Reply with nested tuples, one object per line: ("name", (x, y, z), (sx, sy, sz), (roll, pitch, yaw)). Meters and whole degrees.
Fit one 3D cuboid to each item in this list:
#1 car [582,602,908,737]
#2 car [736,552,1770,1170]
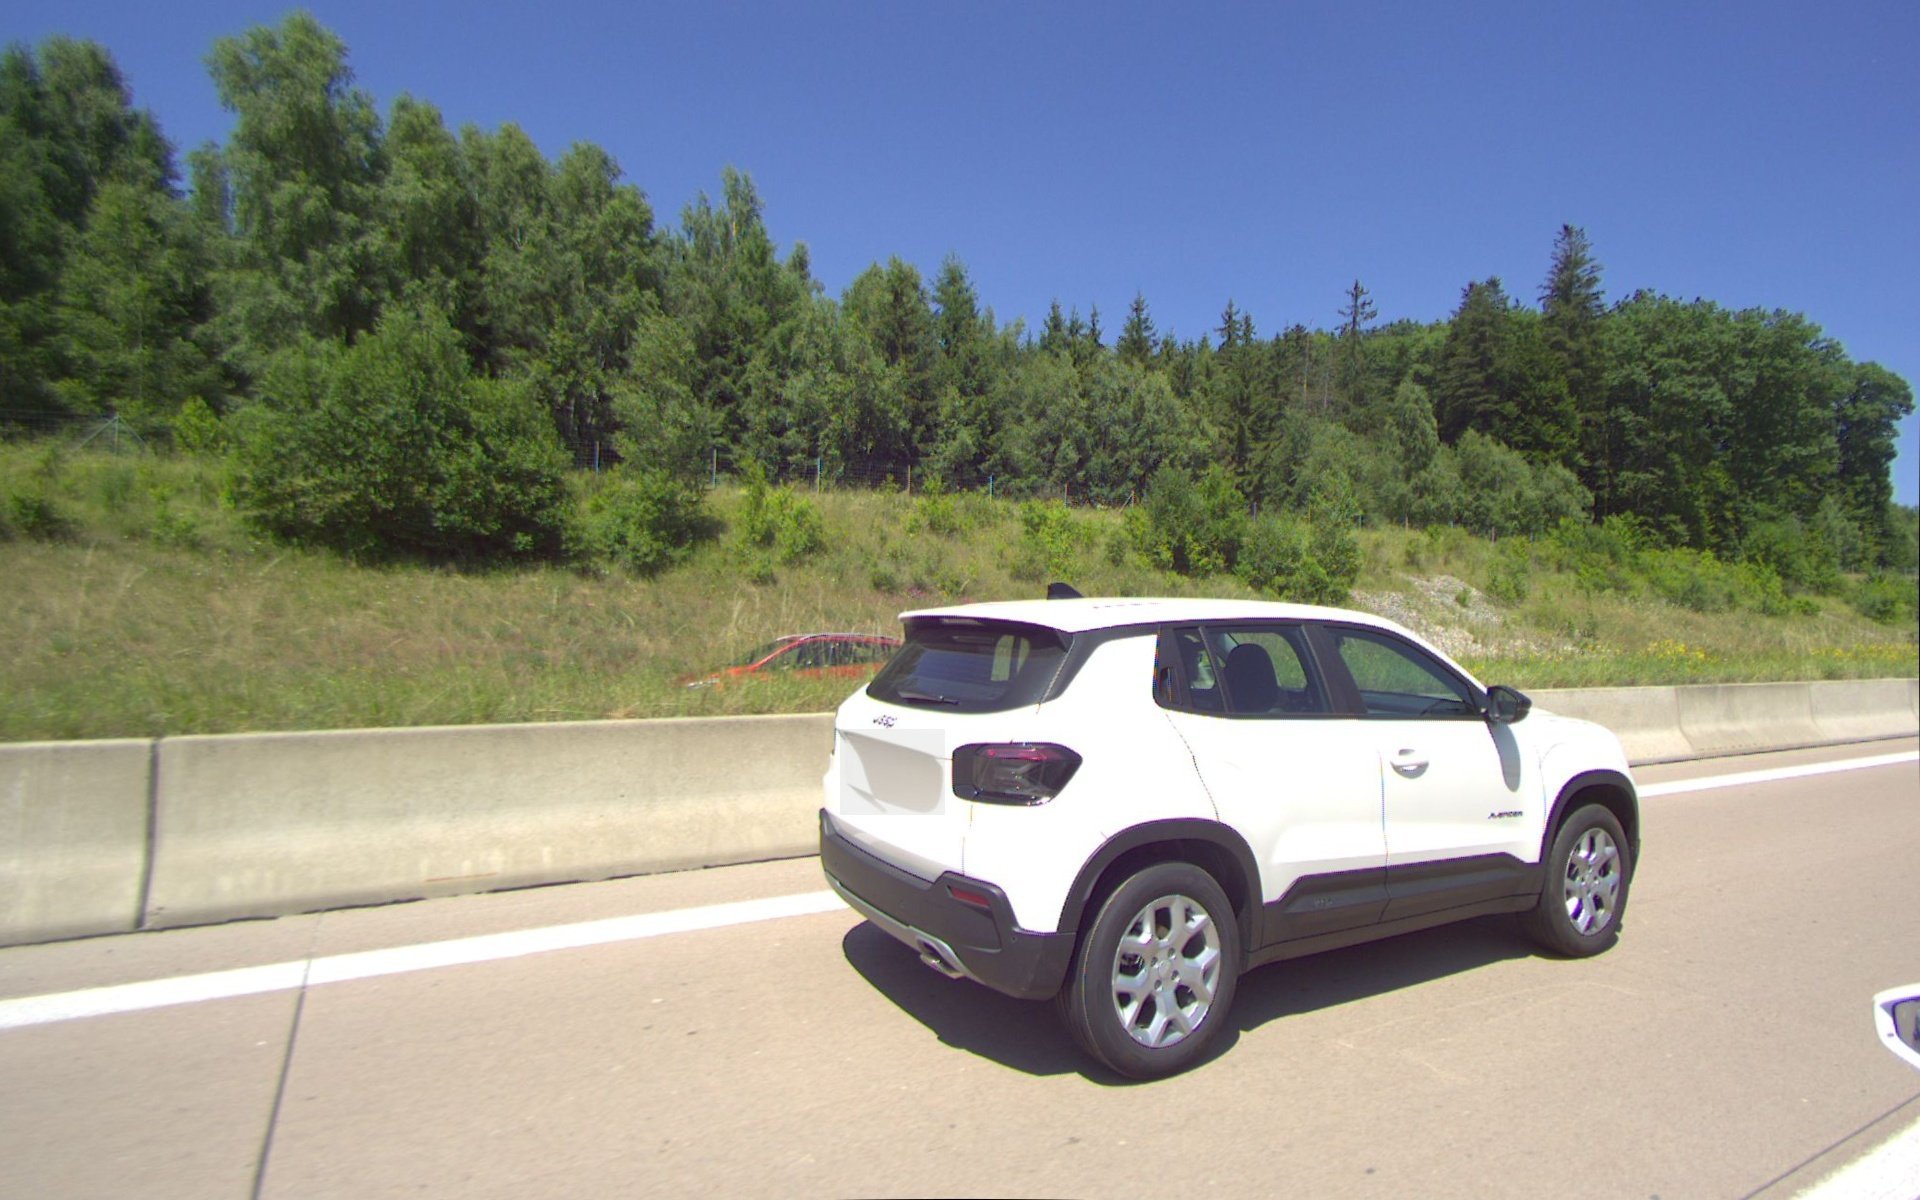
("car", (-3.162, 0.942, 15.076), (4.414, 1.762, 1.880), (1, 0, -32))
("car", (1.579, 0.755, 4.685), (4.778, 1.628, 1.870), (2, -1, -31))
